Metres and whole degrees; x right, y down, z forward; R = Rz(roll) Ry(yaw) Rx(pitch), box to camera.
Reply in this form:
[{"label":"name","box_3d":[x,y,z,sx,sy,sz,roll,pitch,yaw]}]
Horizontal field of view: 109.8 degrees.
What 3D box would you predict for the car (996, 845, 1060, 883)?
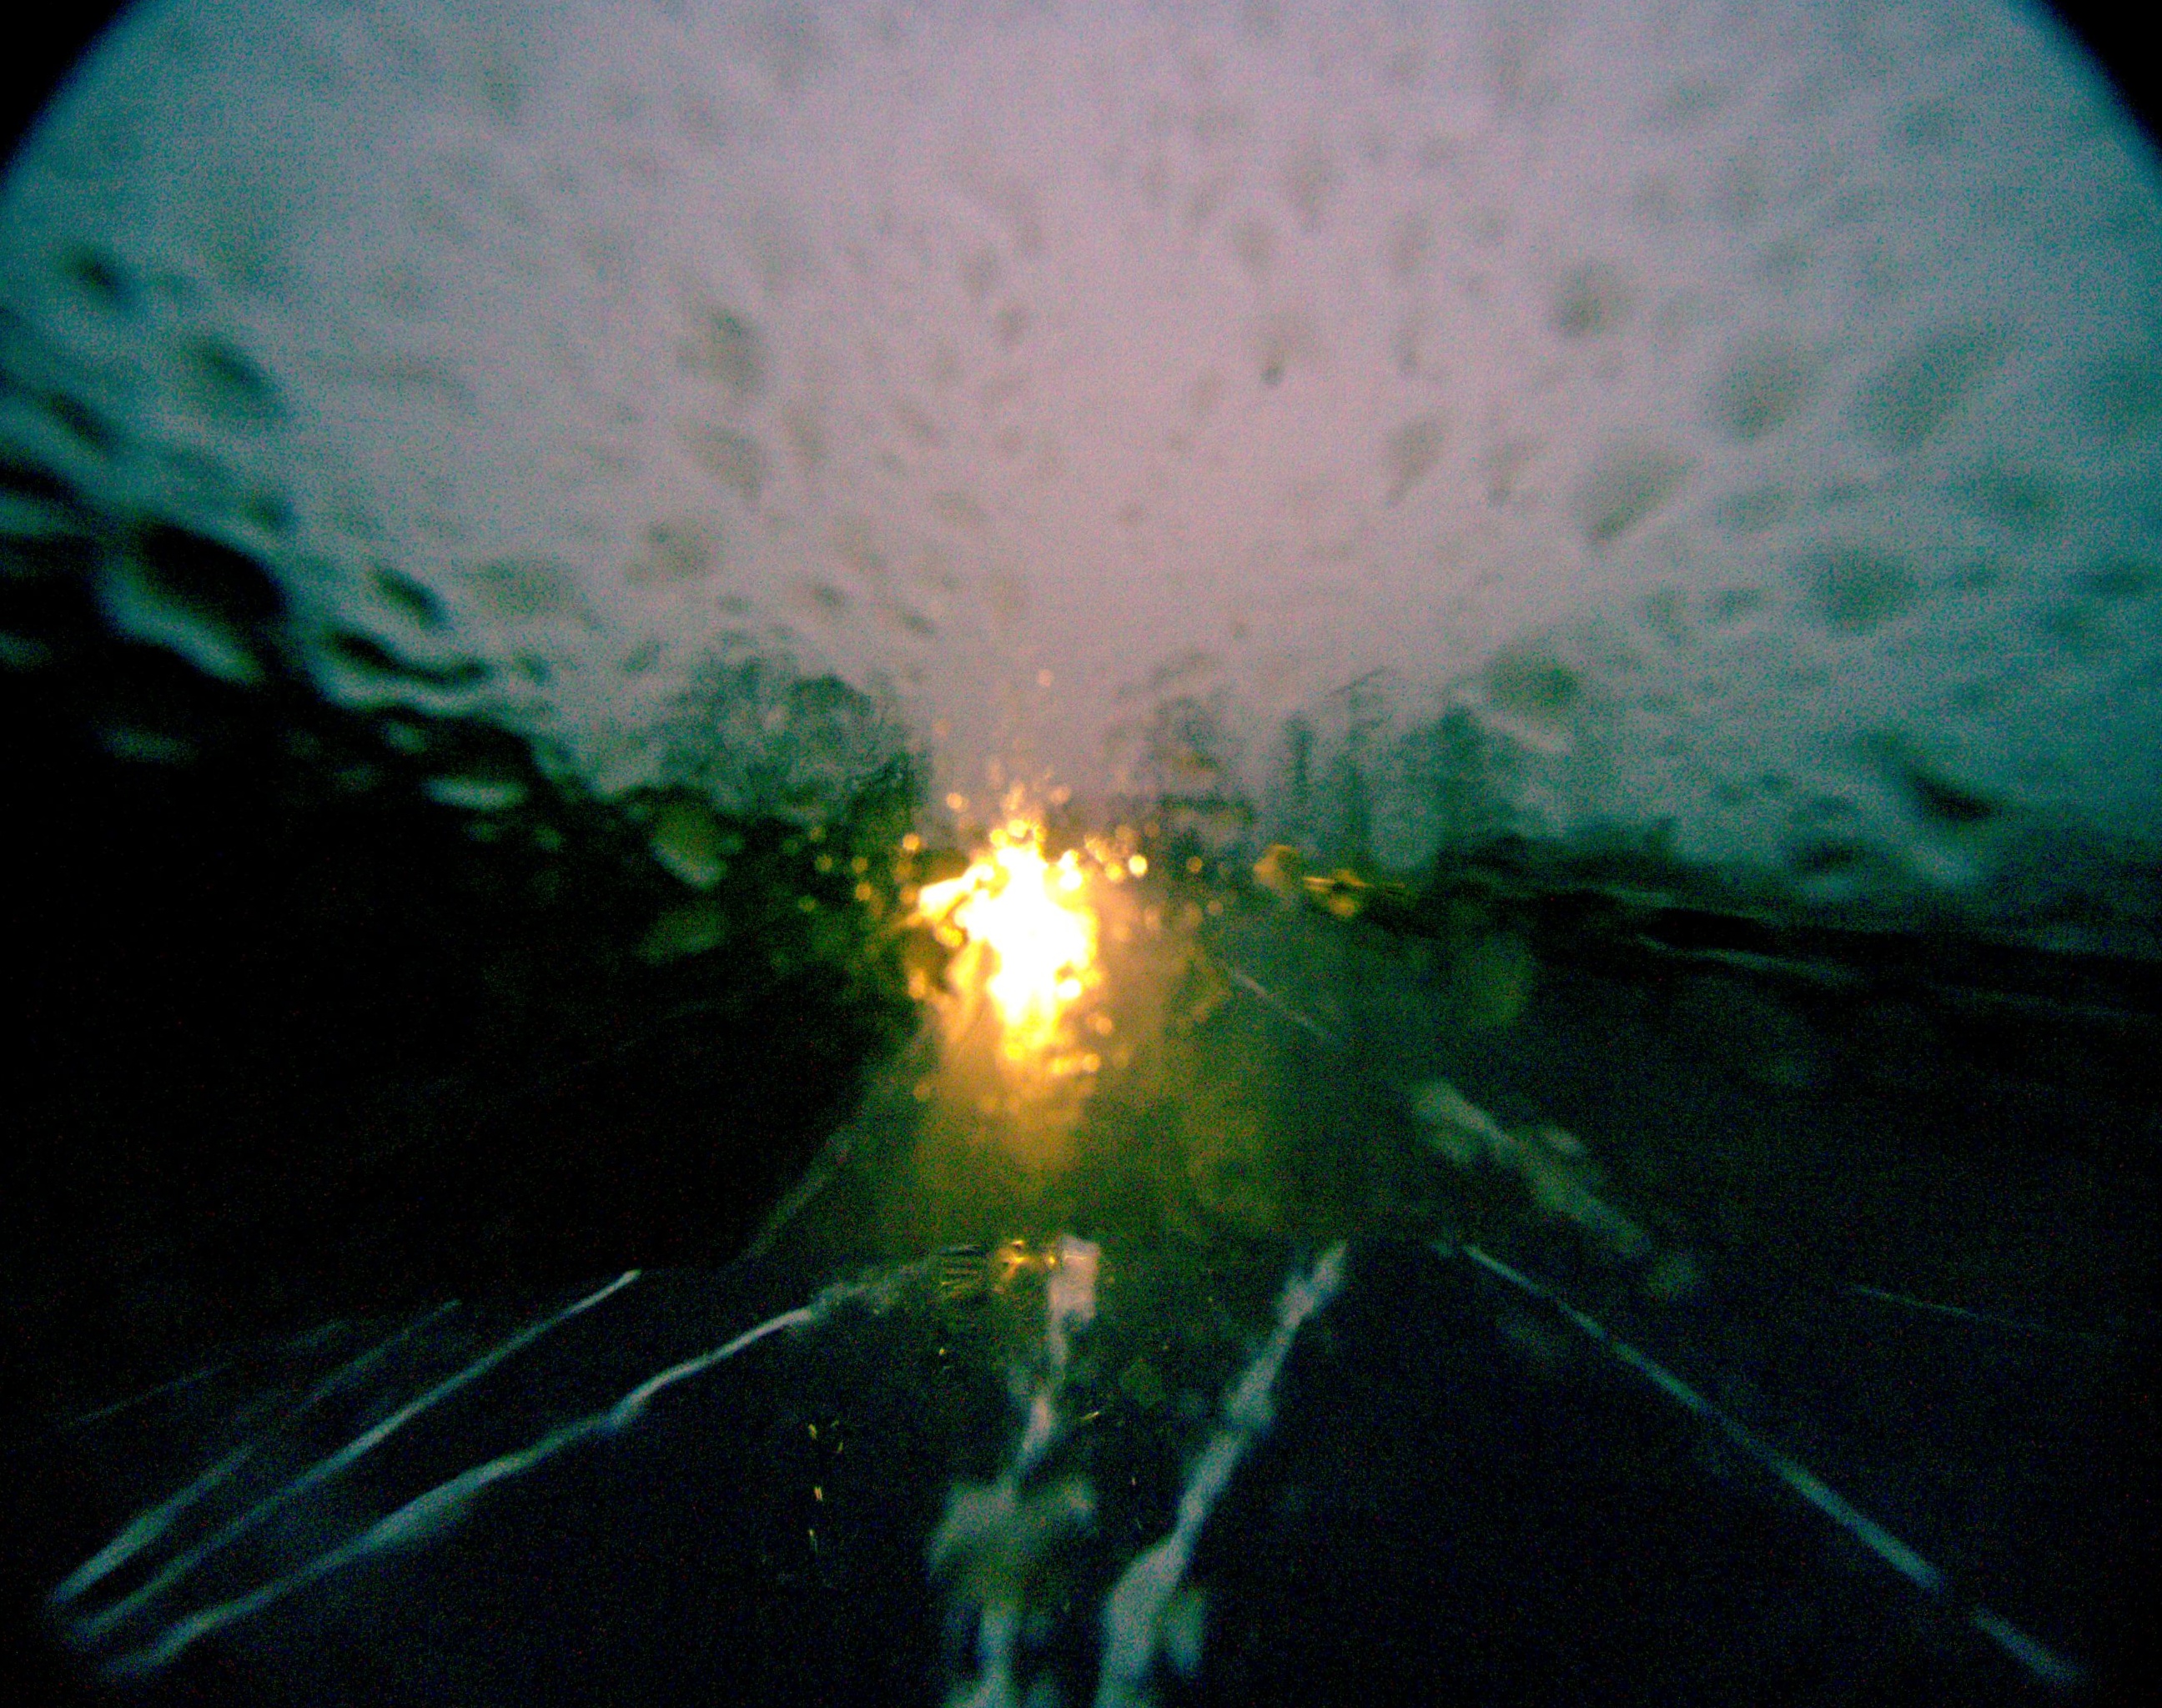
[{"label":"car","box_3d":[-2.440,0.412,33.566,2.104,1.566,4.794,1,0,-12]}]
